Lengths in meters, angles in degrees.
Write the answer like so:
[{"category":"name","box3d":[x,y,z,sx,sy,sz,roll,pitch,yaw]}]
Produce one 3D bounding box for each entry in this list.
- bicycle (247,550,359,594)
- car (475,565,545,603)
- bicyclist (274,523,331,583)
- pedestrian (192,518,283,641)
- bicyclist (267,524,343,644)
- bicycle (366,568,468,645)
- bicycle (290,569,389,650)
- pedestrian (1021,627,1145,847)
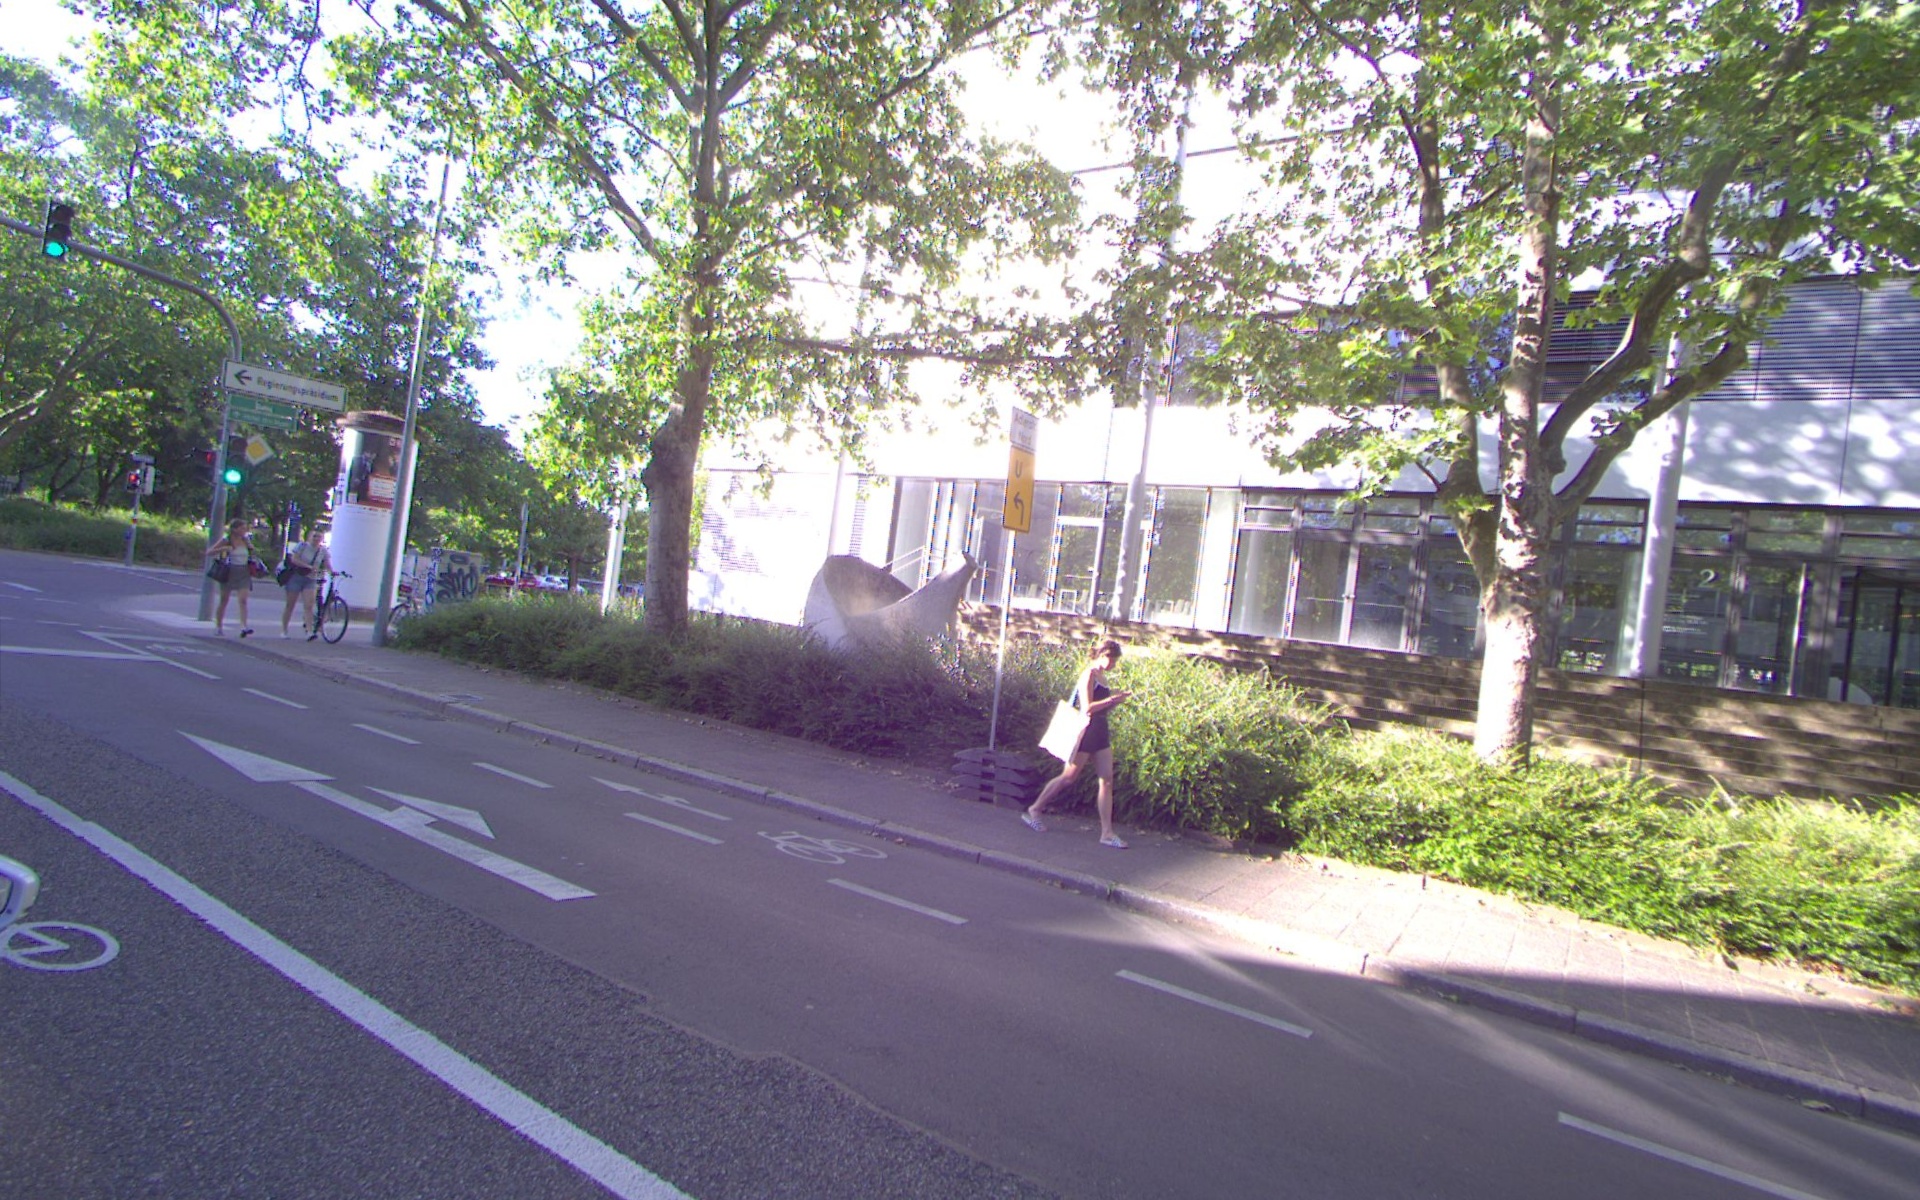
[{"category":"bicycle","box3d":[-22.146,-0.920,34.009,0.926,1.050,3.004,6,-2,29]},{"category":"car","box3d":[-28.029,-1.003,62.638,3.935,1.800,1.997,6,-2,32]},{"category":"bicyclist","box3d":[-22.134,-1.570,33.863,0.961,1.829,1.130,6,-1,30]},{"category":"pedestrian","box3d":[-10.729,-0.295,14.945,0.681,1.740,0.774,5,0,31]},{"category":"bicyclist","box3d":[-9.993,-0.233,15.359,0.644,1.735,0.633,6,1,31]},{"category":"bicycle","box3d":[-9.304,0.148,17.337,0.462,1.196,1.995,6,-2,3]},{"category":"bicycle","box3d":[-9.523,0.130,15.428,1.620,1.047,0.522,6,-1,32]},{"category":"pedestrian","box3d":[0.984,1.071,8.043,0.671,1.612,0.462,6,-1,32]}]
